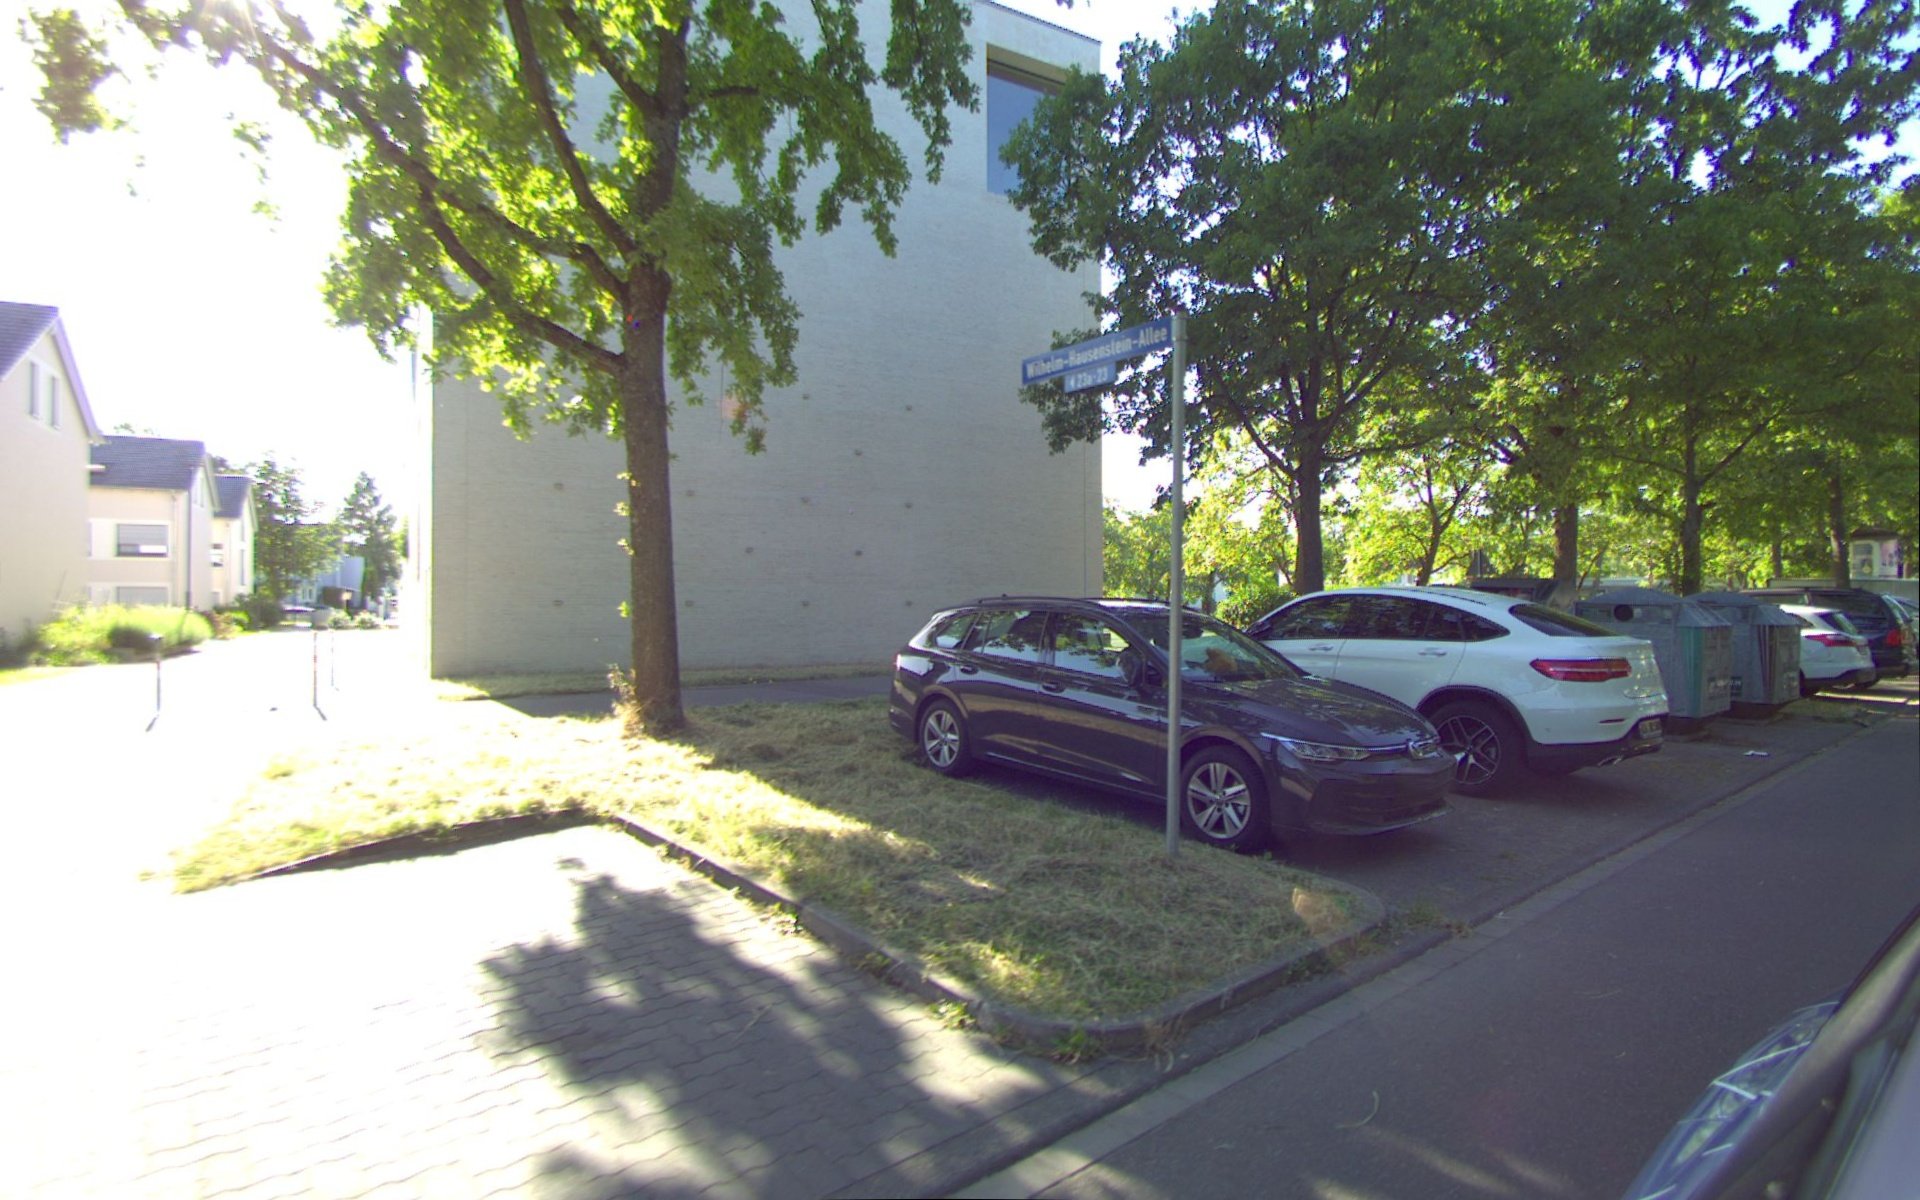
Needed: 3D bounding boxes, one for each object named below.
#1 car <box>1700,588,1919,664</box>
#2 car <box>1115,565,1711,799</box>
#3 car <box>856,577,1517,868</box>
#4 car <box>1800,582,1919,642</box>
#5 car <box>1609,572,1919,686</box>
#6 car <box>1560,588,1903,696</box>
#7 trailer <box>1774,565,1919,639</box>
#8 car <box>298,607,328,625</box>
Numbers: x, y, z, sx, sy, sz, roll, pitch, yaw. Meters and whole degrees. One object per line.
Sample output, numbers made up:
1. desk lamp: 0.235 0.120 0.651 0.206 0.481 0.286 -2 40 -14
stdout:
1. car: 19.552 0.520 22.820 2.040 1.538 4.255 0 1 -39
2. car: 3.824 0.505 9.338 1.882 1.600 4.681 0 1 -39
3. car: 1.331 0.593 7.633 1.883 1.474 4.680 0 1 -41
4. car: 29.026 0.359 31.097 1.952 1.744 4.653 0 2 -39
5. car: 14.673 0.422 18.351 1.902 1.823 4.539 0 1 -40
6. car: 12.666 0.590 16.860 1.767 1.490 4.232 0 1 -38
7. trailer: 30.703 0.044 33.357 1.655 2.346 5.790 0 2 -38
8. car: -52.742 1.275 82.516 1.873 1.408 4.463 0 -1 -31
